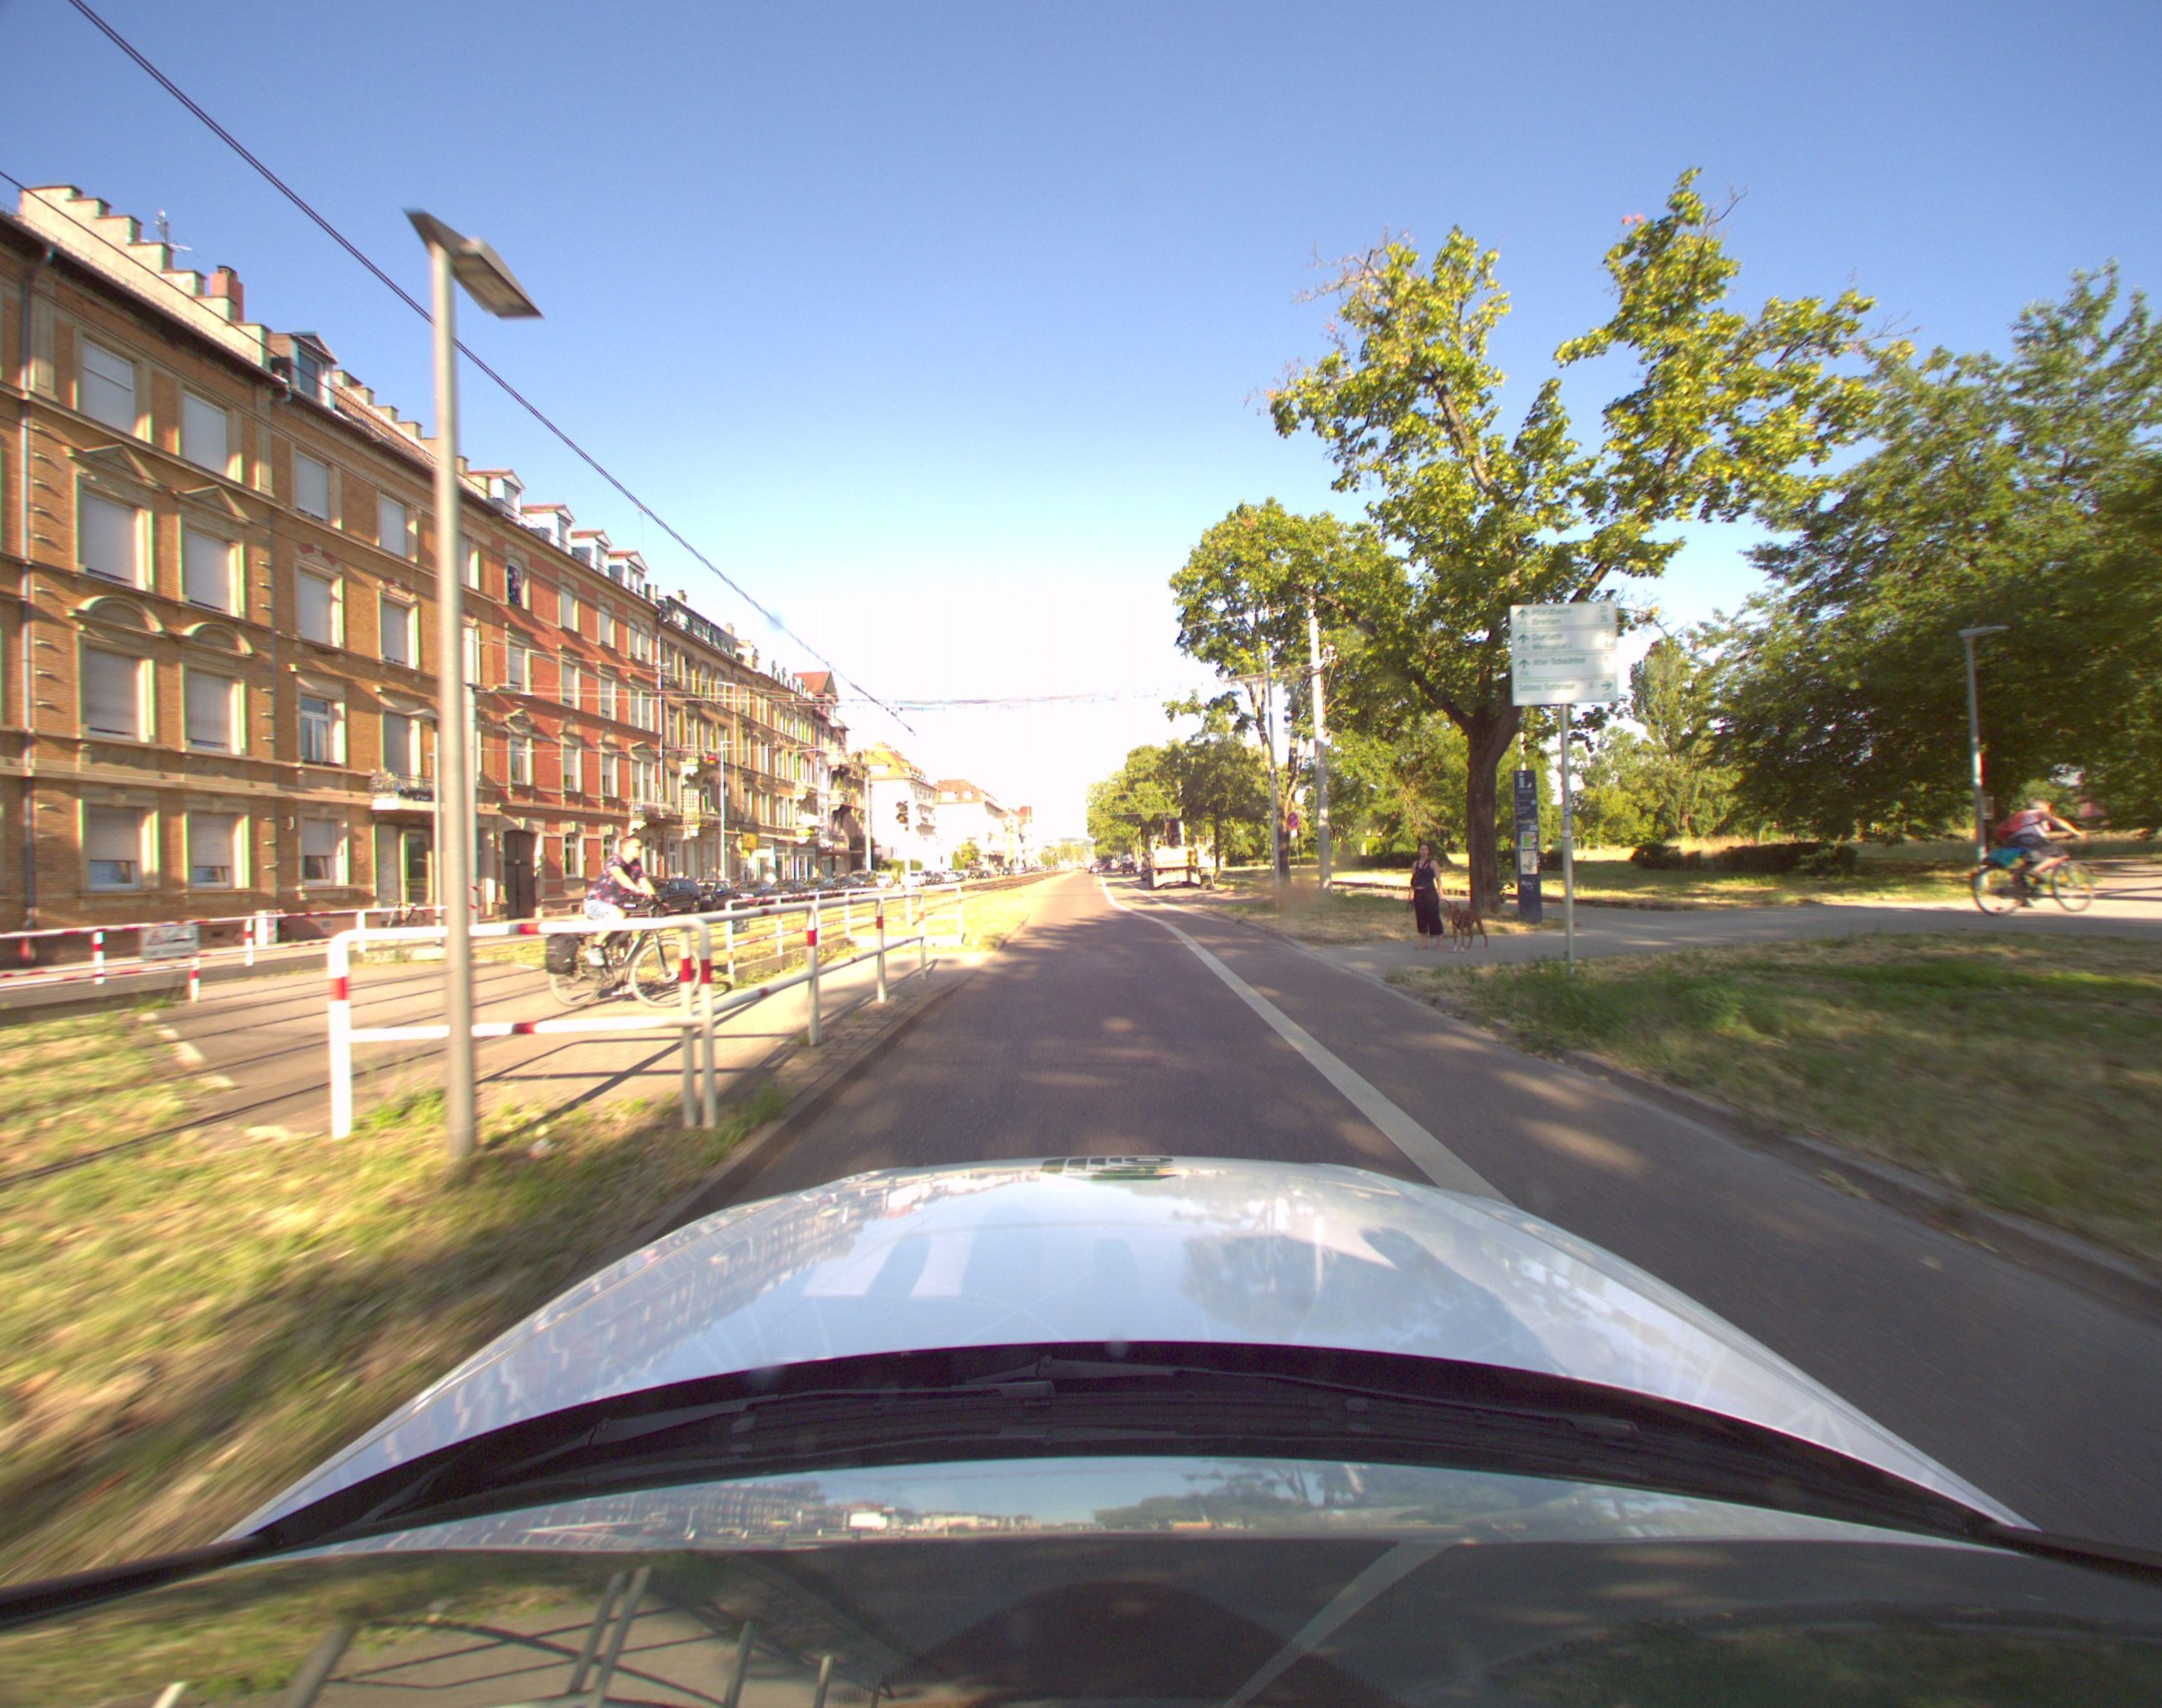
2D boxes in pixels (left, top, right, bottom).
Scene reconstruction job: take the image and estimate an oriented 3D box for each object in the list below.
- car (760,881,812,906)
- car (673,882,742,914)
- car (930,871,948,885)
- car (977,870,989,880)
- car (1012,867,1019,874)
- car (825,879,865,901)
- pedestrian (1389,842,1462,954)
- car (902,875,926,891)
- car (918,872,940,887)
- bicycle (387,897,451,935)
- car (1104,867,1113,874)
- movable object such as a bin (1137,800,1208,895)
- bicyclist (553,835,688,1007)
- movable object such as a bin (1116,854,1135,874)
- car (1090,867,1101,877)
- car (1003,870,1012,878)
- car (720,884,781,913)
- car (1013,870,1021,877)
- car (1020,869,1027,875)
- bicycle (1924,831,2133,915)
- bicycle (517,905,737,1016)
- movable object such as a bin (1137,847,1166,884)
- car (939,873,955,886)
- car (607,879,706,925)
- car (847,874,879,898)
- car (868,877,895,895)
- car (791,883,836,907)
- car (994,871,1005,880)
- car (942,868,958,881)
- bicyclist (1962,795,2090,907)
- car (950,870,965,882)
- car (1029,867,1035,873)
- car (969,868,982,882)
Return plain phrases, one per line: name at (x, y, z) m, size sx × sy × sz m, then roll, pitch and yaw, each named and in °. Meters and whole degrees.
car at (-18.382, 2.439, 50.855) m, size 1.770 × 1.406 × 3.909 m, roll 0°, pitch 0°, yaw 0°
car at (-18.732, 2.188, 41.001) m, size 1.769 × 1.466 × 3.531 m, roll 0°, pitch -1°, yaw 0°
car at (-16.917, 2.868, 96.830) m, size 1.522 × 1.561 × 3.223 m, roll 0°, pitch 0°, yaw 0°
car at (-16.512, 3.491, 137.420) m, size 1.522 × 1.561 × 3.223 m, roll 0°, pitch 0°, yaw 0°
car at (-16.163, 4.083, 200.894) m, size 1.522 × 1.610 × 3.223 m, roll 0°, pitch 0°, yaw 0°
car at (-17.703, 2.672, 61.184) m, size 1.770 × 1.406 × 3.979 m, roll 0°, pitch 0°, yaw 0°
pedestrian at (5.401, 0.674, 12.817) m, size 0.658 × 1.647 × 0.862 m, roll -5°, pitch -1°, yaw 1°
car at (-17.725, 3.108, 86.530) m, size 1.735 × 1.561 × 3.767 m, roll 0°, pitch 0°, yaw 0°
car at (-17.019, 2.817, 91.287) m, size 1.735 × 1.561 × 3.767 m, roll 0°, pitch 0°, yaw 0°
bicycle at (-22.504, 2.090, 27.725) m, size 0.696 × 1.181 × 1.751 m, roll 0°, pitch -1°, yaw 1°
car at (7.813, 4.681, 230.910) m, size 1.991 × 1.860 × 3.992 m, roll 0°, pitch -1°, yaw -5°
movable object such as a bin at (5.466, -0.285, 50.263) m, size 3.077 × 5.088 × 8.891 m, roll -5°, pitch -1°, yaw 0°
bicyclist at (-4.859, 0.687, 8.638) m, size 0.914 × 1.715 × 0.768 m, roll -2°, pitch -1°, yaw 9°
movable object such as a bin at (6.982, 1.608, 127.800) m, size 2.459 × 2.906 × 4.000 m, roll -5°, pitch -1°, yaw 0°
car at (2.524, 3.119, 141.389) m, size 1.986 × 1.684 × 4.000 m, roll 0°, pitch -1°, yaw 1°
car at (-15.845, 4.258, 175.095) m, size 1.522 × 1.561 × 3.223 m, roll 0°, pitch 0°, yaw 0°
car at (-18.527, 2.463, 45.835) m, size 1.770 × 1.406 × 3.909 m, roll 0°, pitch 0°, yaw 0°
car at (-15.161, 4.630, 192.021) m, size 1.522 × 1.561 × 3.223 m, roll 0°, pitch 0°, yaw 0°
car at (-14.990, 4.692, 213.293) m, size 1.522 × 1.610 × 3.223 m, roll 0°, pitch 0°, yaw 0°
bicycle at (13.320, 0.257, 11.478) m, size 2.257 × 1.040 × 0.765 m, roll -2°, pitch -1°, yaw -6°
bicycle at (-4.789, 1.115, 8.643) m, size 1.941 × 1.040 × 0.768 m, roll -2°, pitch -1°, yaw 9°
movable object such as a bin at (6.257, 1.032, 72.493) m, size 1.962 × 3.013 × 4.796 m, roll -5°, pitch -1°, yaw 0°
car at (-16.974, 3.215, 103.364) m, size 1.522 × 1.561 × 3.223 m, roll 0°, pitch 0°, yaw 0°
car at (-18.825, 2.072, 36.365) m, size 2.008 × 1.754 × 4.558 m, roll 0°, pitch 0°, yaw 0°
car at (-17.868, 2.587, 66.809) m, size 1.557 × 1.854 × 3.900 m, roll 0°, pitch 0°, yaw 0°
car at (-18.010, 2.887, 73.686) m, size 1.557 × 1.457 × 3.665 m, roll 0°, pitch 0°, yaw 0°
car at (-18.177, 2.758, 55.461) m, size 1.770 × 1.406 × 3.909 m, roll 0°, pitch 0°, yaw 0°
car at (-15.233, 4.007, 152.303) m, size 1.522 × 1.561 × 3.223 m, roll 0°, pitch 0°, yaw 0°
car at (-17.227, 2.721, 107.319) m, size 1.522 × 1.561 × 3.223 m, roll 0°, pitch 0°, yaw 0°
bicyclist at (13.303, -0.040, 11.490) m, size 0.902 × 1.496 × 0.765 m, roll -2°, pitch -1°, yaw -6°
car at (-17.070, 2.992, 112.263) m, size 1.522 × 1.561 × 3.223 m, roll 0°, pitch 0°, yaw 0°
car at (-14.778, 4.746, 244.329) m, size 1.522 × 1.610 × 3.223 m, roll 0°, pitch 0°, yaw 0°
car at (-17.063, 3.395, 131.421) m, size 1.652 × 2.140 × 3.525 m, roll 0°, pitch 0°, yaw 0°
